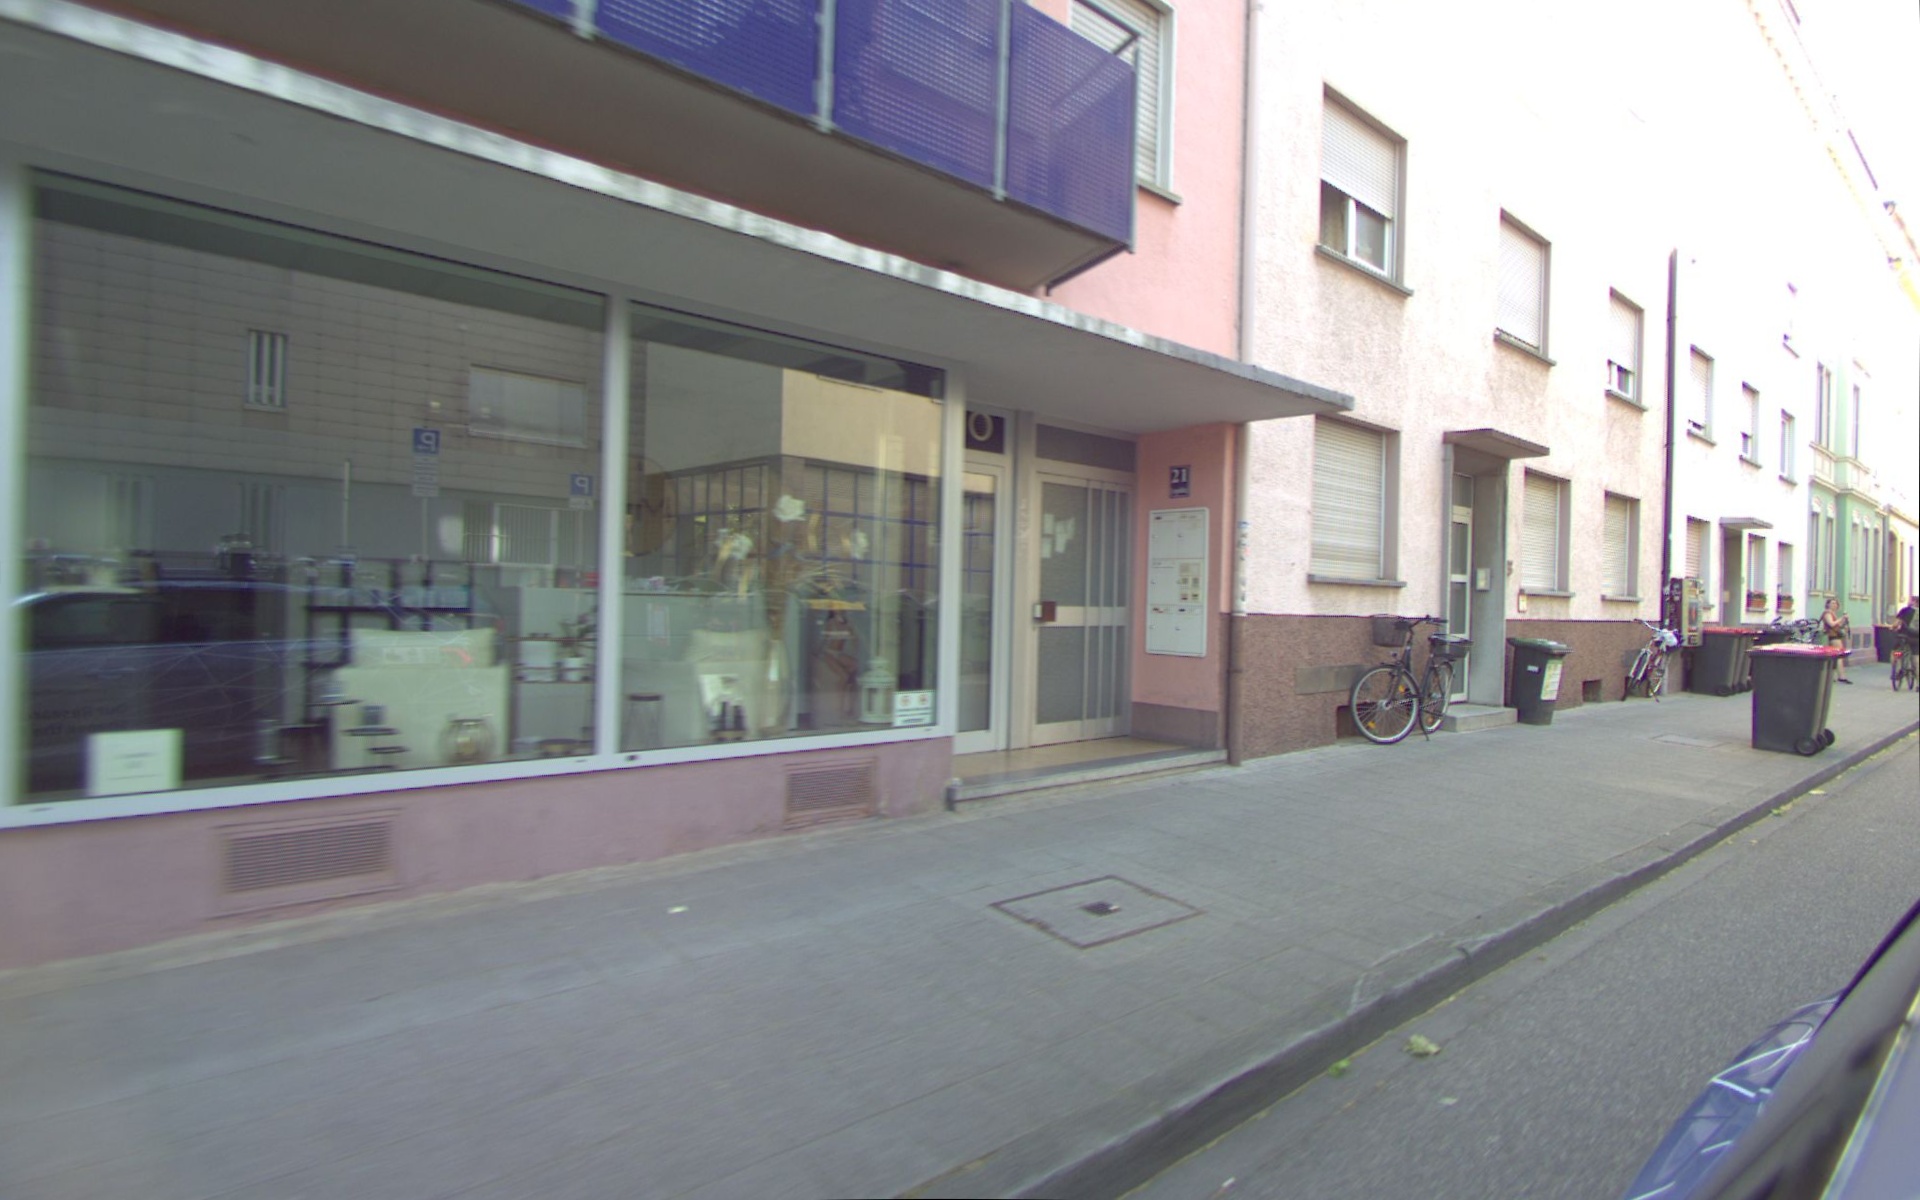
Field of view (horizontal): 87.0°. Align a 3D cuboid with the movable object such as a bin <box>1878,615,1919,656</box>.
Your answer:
[{"bbox_3d":[26.295,0.982,28.286,0.661,1.102,0.814,0,1,-38],"label":"movable object such as a bin"}]

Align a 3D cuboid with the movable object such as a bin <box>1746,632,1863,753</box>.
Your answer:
[{"bbox_3d":[8.455,0.895,10.137,0.680,1.100,0.769,0,1,-39],"label":"movable object such as a bin"}]

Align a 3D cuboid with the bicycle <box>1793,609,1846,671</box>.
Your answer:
[{"bbox_3d":[18.192,0.824,21.398,2.120,1.221,0.406,0,1,-38],"label":"bicycle"}]

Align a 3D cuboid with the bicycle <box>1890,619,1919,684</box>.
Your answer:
[{"bbox_3d":[18.083,0.964,19.024,1.954,1.150,0.664,2,3,-43],"label":"bicycle"}]

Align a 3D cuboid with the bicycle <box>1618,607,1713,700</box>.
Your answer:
[{"bbox_3d":[9.993,0.728,14.298,2.040,1.184,0.538,1,4,-41],"label":"bicycle"}]

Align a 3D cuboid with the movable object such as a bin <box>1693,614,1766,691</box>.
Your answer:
[{"bbox_3d":[12.153,0.816,15.991,0.628,1.110,0.741,0,3,-39],"label":"movable object such as a bin"}]

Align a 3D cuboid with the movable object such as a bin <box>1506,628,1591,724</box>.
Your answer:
[{"bbox_3d":[6.441,0.813,11.072,0.670,0.963,0.599,0,1,-39],"label":"movable object such as a bin"}]

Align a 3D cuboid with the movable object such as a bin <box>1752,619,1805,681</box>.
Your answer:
[{"bbox_3d":[15.034,0.912,18.584,0.592,1.075,0.617,1,2,-41],"label":"movable object such as a bin"}]

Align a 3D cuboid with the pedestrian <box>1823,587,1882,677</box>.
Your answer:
[{"bbox_3d":[17.603,0.616,19.973,0.672,1.733,0.658,0,1,-28],"label":"pedestrian"}]

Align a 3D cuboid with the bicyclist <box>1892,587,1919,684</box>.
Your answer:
[{"bbox_3d":[18.120,0.679,18.996,0.808,1.792,0.761,2,2,-42],"label":"bicyclist"}]

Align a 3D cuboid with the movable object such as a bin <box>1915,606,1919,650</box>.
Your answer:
[{"bbox_3d":[31.743,0.908,32.898,1.275,1.406,0.839,-2,5,-42],"label":"movable object such as a bin"}]

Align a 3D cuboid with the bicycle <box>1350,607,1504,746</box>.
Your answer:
[{"bbox_3d":[4.357,0.660,9.372,1.885,1.148,0.454,0,3,-39],"label":"bicycle"}]

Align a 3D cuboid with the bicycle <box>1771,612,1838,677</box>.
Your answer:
[{"bbox_3d":[16.477,0.845,19.733,1.833,1.168,0.570,0,1,-36],"label":"bicycle"}]

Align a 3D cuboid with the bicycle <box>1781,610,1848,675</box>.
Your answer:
[{"bbox_3d":[17.278,0.831,20.445,2.222,1.221,0.439,0,1,-34],"label":"bicycle"}]

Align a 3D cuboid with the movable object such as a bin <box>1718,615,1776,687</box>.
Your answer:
[{"bbox_3d":[13.010,0.831,16.737,0.559,1.136,0.629,0,1,-39],"label":"movable object such as a bin"}]

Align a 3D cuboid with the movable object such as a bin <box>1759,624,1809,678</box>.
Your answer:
[{"bbox_3d":[15.470,0.948,18.995,0.597,0.936,0.578,1,3,-40],"label":"movable object such as a bin"}]

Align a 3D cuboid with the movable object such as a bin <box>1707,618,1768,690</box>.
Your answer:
[{"bbox_3d":[12.584,0.858,16.386,0.582,1.119,0.658,1,0,-39],"label":"movable object such as a bin"}]

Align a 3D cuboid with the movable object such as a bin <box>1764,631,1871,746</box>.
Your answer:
[{"bbox_3d":[8.979,0.898,10.603,0.691,1.094,0.734,0,1,-39],"label":"movable object such as a bin"}]
